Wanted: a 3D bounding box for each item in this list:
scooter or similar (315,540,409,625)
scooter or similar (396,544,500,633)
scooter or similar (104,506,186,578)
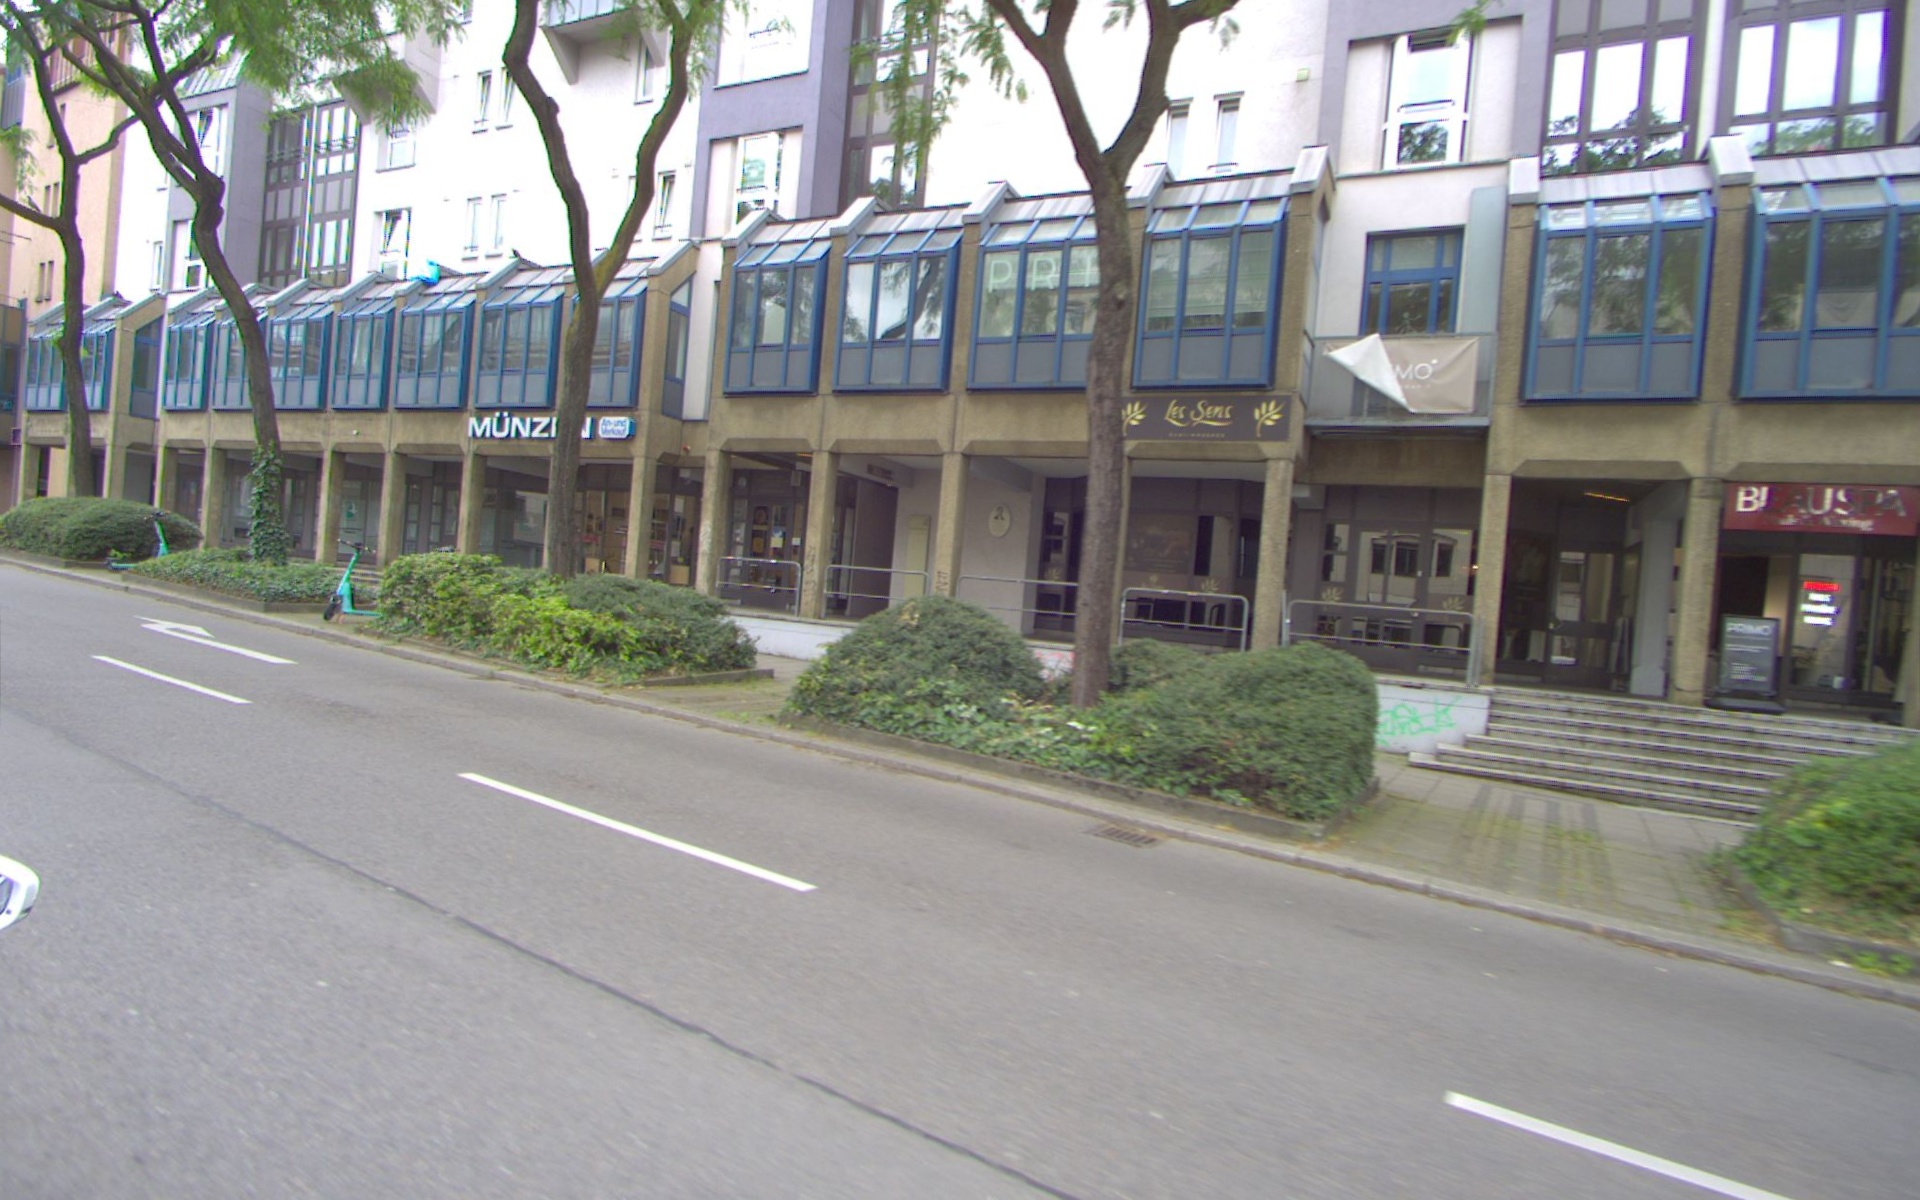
[{"bbox_3d":[-9.118,-0.253,15.361,0.421,1.197,1.104,8,3,41],"label":"scooter or similar"},{"bbox_3d":[-8.010,-0.164,15.771,0.712,1.286,1.196,7,3,31],"label":"scooter or similar"},{"bbox_3d":[-15.961,-1.132,19.708,0.419,1.302,1.159,8,4,40],"label":"scooter or similar"}]
